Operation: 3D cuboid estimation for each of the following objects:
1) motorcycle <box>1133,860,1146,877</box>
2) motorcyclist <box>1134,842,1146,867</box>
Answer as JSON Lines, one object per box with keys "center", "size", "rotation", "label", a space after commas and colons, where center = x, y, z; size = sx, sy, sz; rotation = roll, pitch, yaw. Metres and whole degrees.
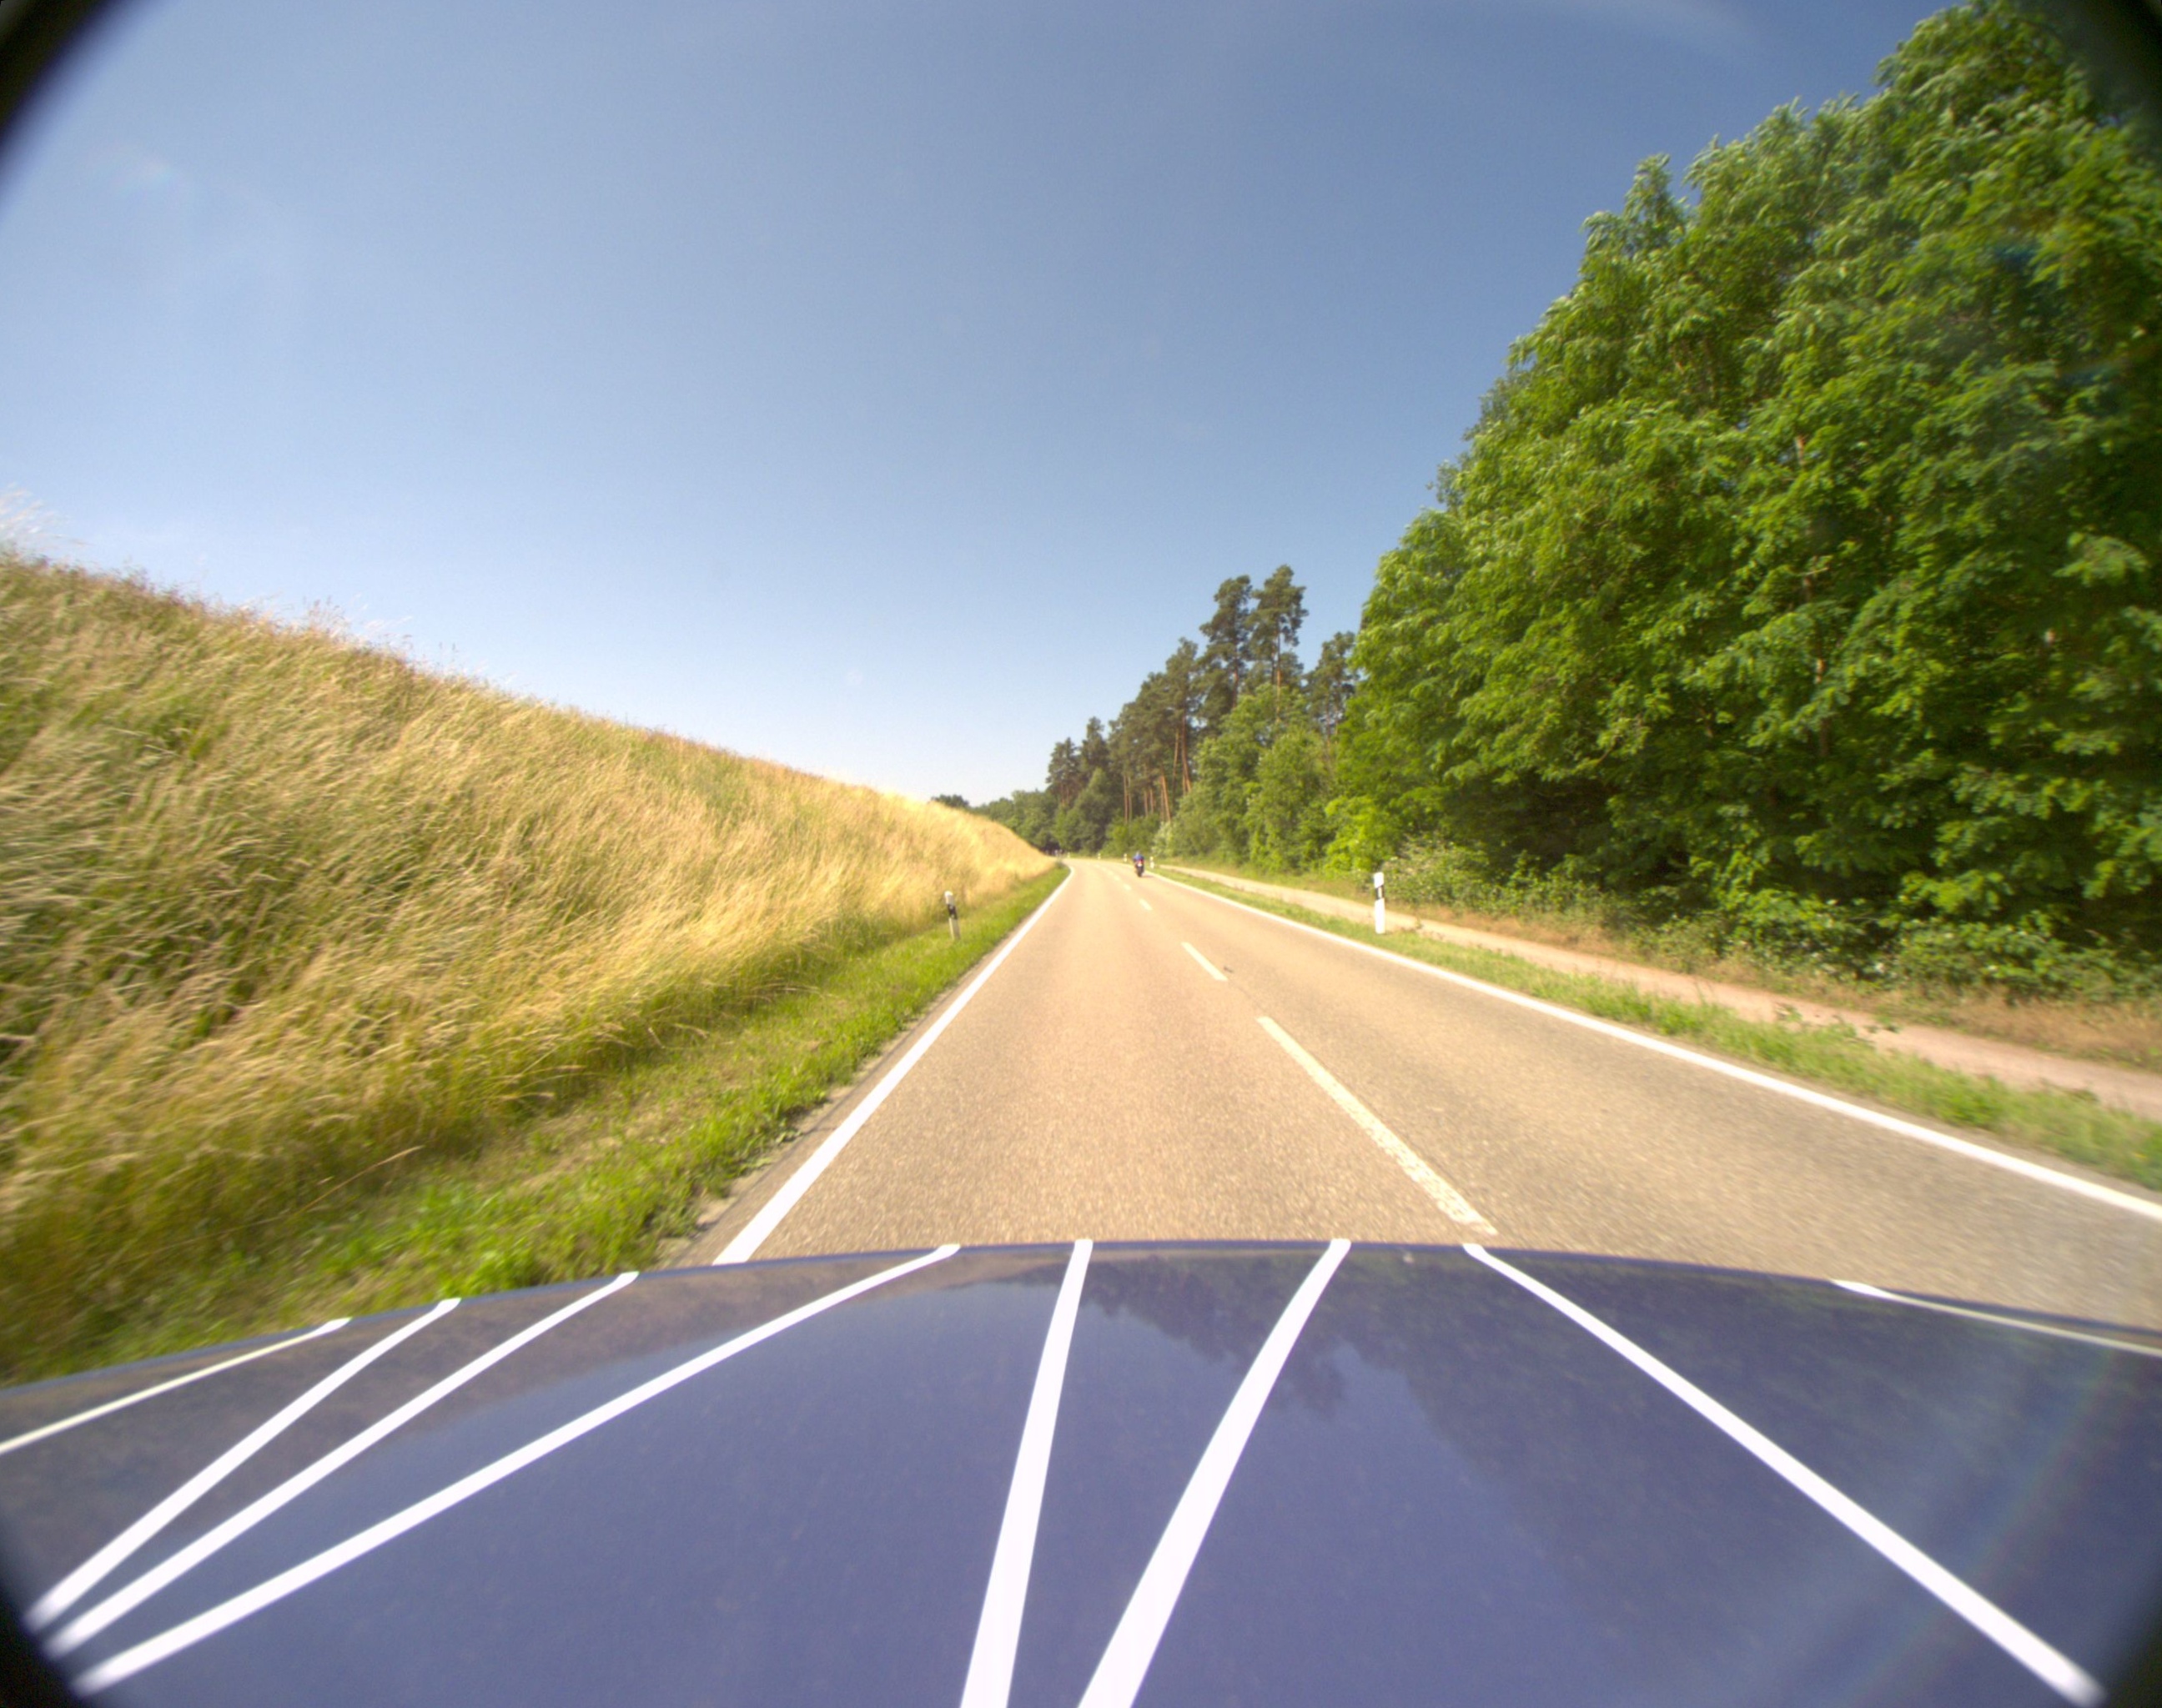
{"center": [3.637, 0.865, 47.220], "size": [0.640, 0.979, 2.006], "rotation": [2, 1, 1], "label": "motorcycle"}
{"center": [3.661, 0.005, 47.098], "size": [0.661, 1.519, 0.813], "rotation": [2, 1, -1], "label": "motorcyclist"}
